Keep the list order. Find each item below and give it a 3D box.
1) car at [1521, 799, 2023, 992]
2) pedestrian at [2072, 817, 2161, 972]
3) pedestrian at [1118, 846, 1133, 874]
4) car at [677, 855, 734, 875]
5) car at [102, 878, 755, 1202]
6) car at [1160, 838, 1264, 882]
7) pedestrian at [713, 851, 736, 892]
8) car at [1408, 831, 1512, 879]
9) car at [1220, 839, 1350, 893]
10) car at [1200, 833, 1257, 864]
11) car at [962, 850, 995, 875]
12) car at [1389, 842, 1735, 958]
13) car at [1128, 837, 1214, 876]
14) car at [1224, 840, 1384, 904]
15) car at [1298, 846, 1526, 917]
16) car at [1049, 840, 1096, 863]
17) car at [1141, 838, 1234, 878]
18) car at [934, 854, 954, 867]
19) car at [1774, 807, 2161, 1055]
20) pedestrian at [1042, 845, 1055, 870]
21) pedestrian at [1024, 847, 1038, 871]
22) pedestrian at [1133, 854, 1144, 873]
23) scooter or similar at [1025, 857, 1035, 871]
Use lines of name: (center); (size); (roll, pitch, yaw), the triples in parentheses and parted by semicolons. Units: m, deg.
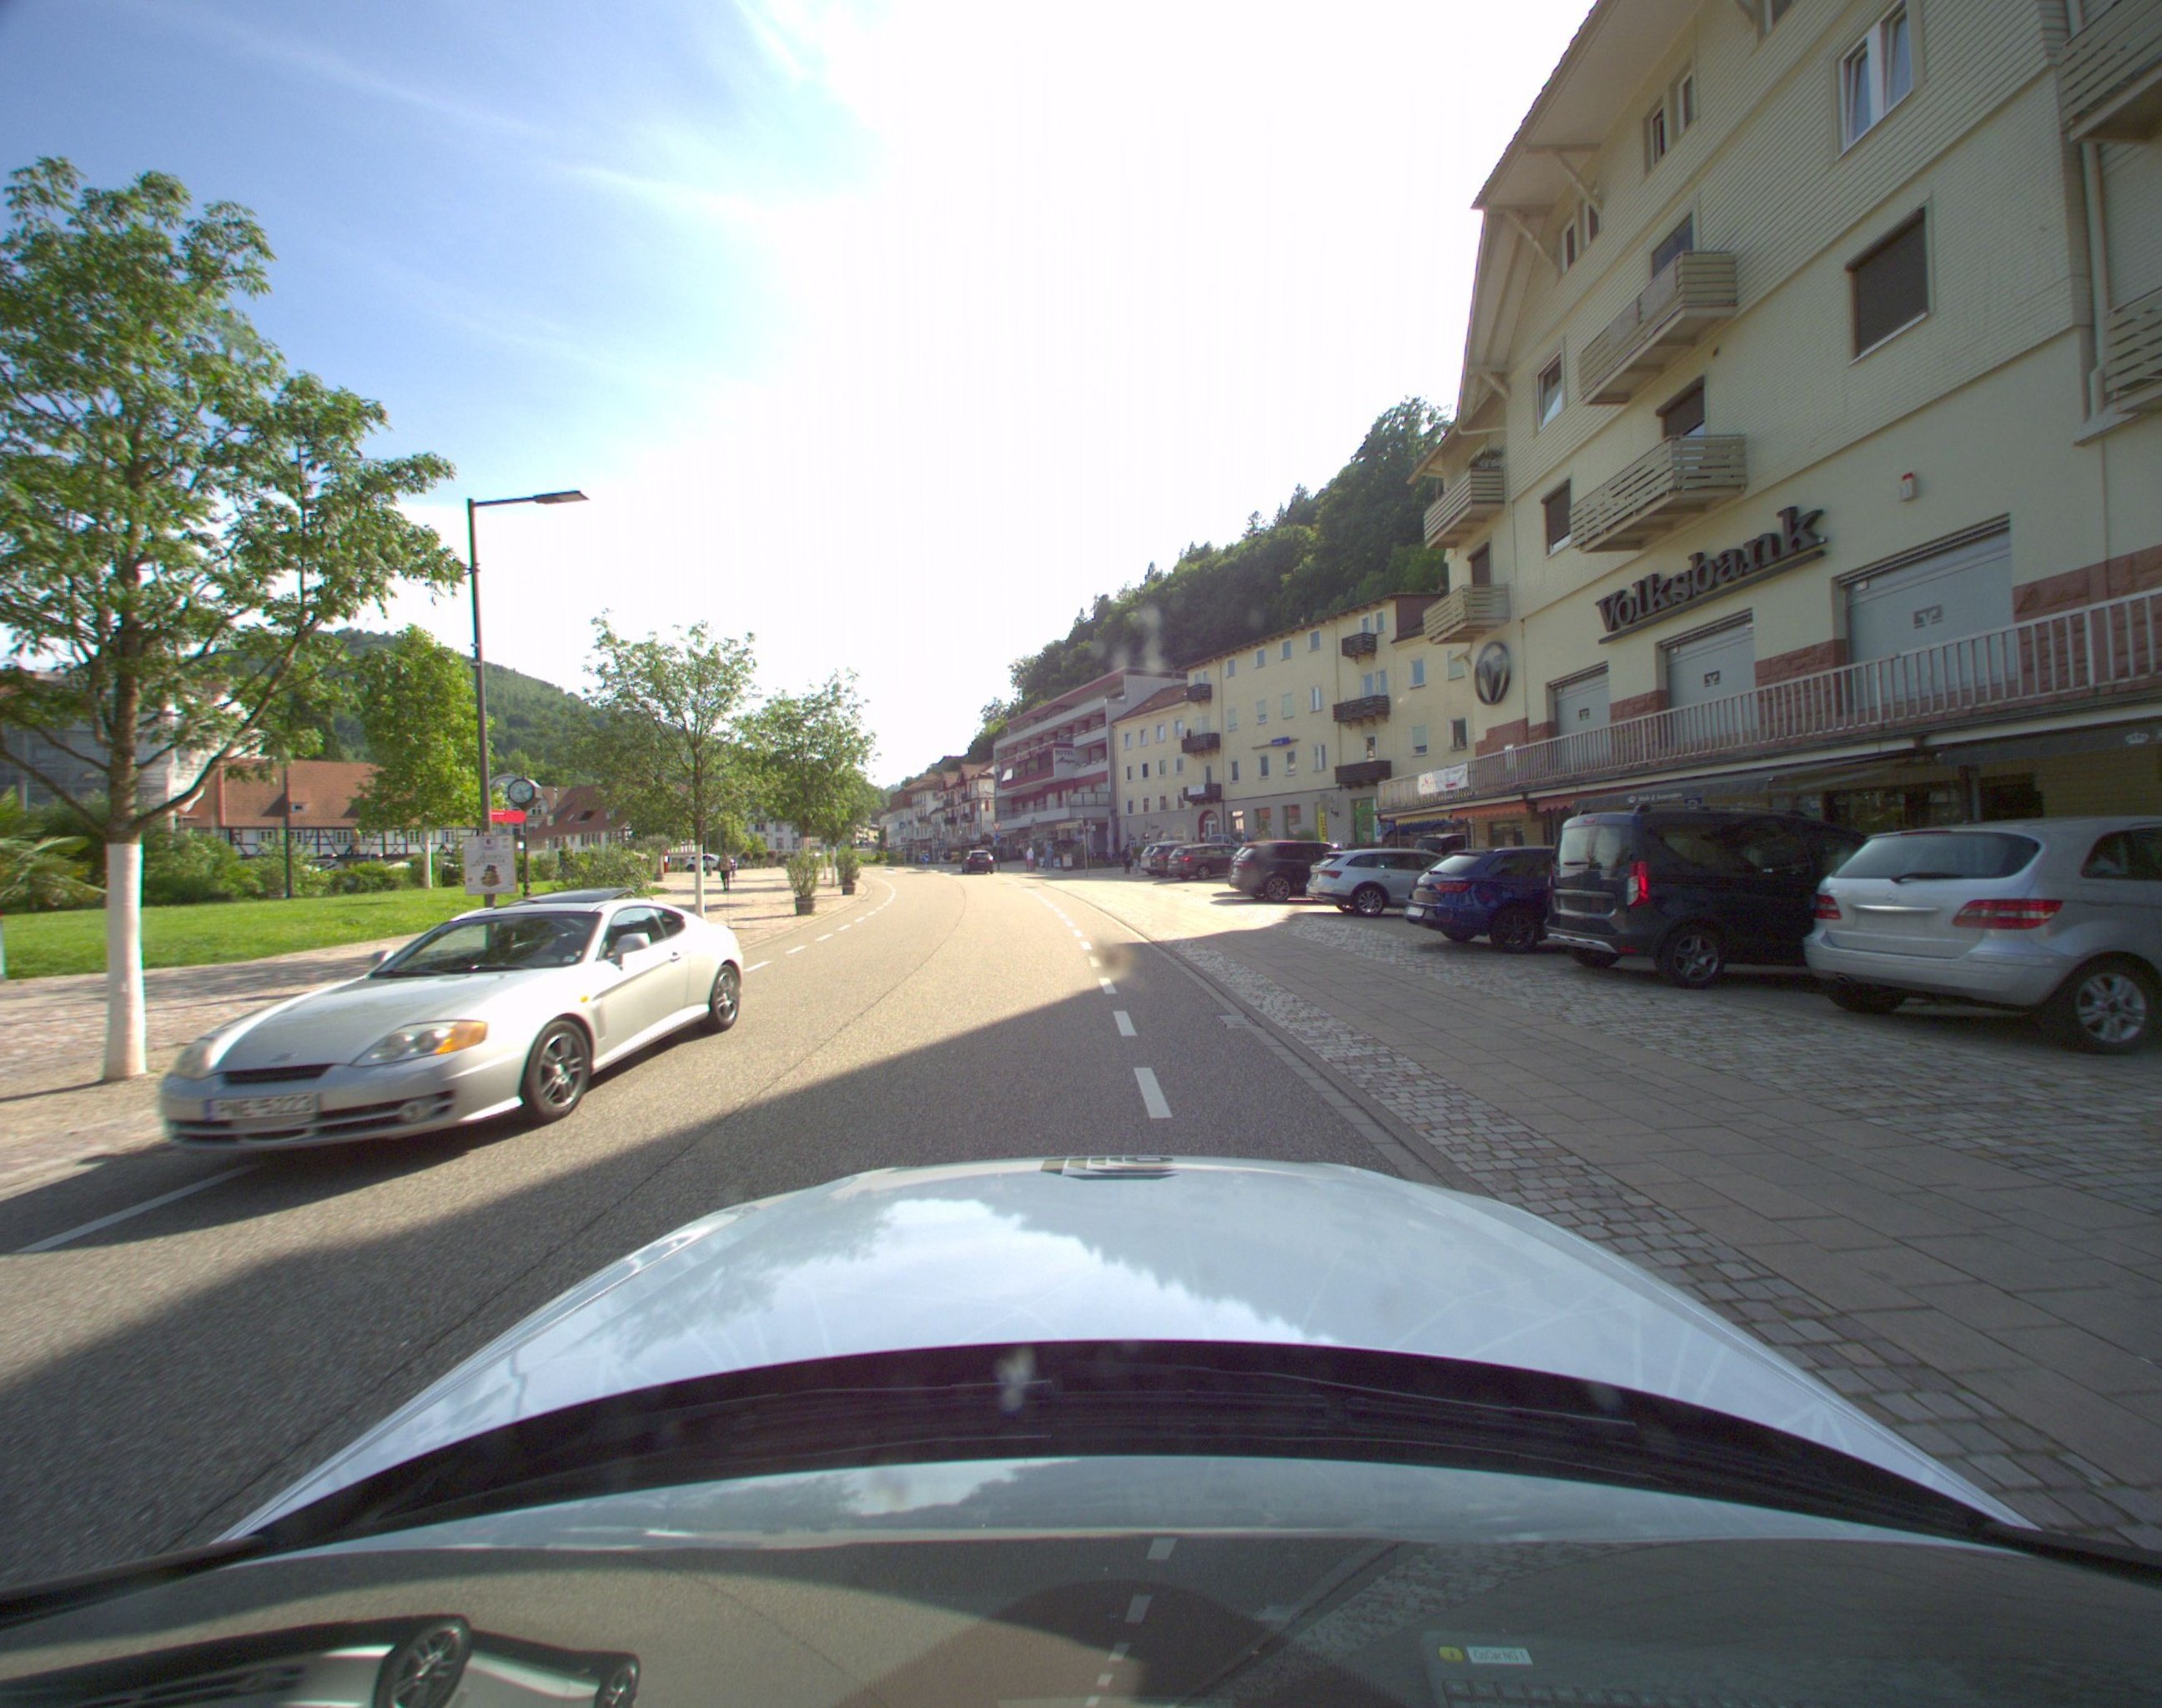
car: (7.208, 0.411, 8.837); (3.896, 1.804, 1.857); (1, -1, 0)
pedestrian: (11.568, 0.436, 9.089); (0.457, 1.658, 0.432); (-4, -1, -17)
pedestrian: (2.384, 0.328, 43.739); (0.732, 1.442, 0.633); (-4, 0, 1)
car: (-32.889, 0.953, 71.387); (4.154, 1.616, 1.691); (-1, 0, 1)
car: (-4.034, 0.972, 6.073); (1.624, 1.370, 4.059); (-4, 0, -2)
car: (5.617, 0.224, 34.950); (4.024, 1.516, 1.761); (-5, 2, -20)
pedestrian: (-15.919, 0.781, 36.422); (0.870, 1.815, 0.686); (-1, 0, -21)
car: (14.400, 0.003, 30.891); (3.937, 1.609, 1.754); (-3, 1, -33)
car: (6.743, 0.371, 27.188); (3.896, 1.700, 1.773); (1, 1, 0)
car: (9.886, -0.368, 54.819); (1.869, 2.013, 3.643); (-1, 1, -30)
car: (-6.961, 0.536, 54.892); (1.730, 1.574, 3.735); (-1, 1, -14)
car: (6.647, 0.601, 11.566); (3.896, 1.461, 1.736); (1, 0, 0)
car: (4.563, 0.116, 41.226); (3.875, 1.612, 1.761); (-5, 2, -20)
car: (6.258, 0.490, 23.133); (4.070, 1.666, 1.773); (1, 0, 0)
car: (7.204, 0.600, 18.062); (4.339, 1.461, 1.774); (-1, -2, 2)
car: (-0.654, -0.179, 61.846); (3.174, 1.663, 1.583); (-2, 0, -20)
car: (5.003, 0.178, 38.349); (3.875, 1.549, 1.761); (-5, 2, -20)
car: (-17.667, 0.787, 104.880); (1.684, 1.620, 3.968); (-1, 0, -24)
car: (7.904, 0.499, 6.126); (3.896, 1.589, 1.775); (0, 0, 0)
pedestrian: (-2.220, 0.249, 55.947); (0.671, 1.728, 0.702); (-1, 0, -22)
pedestrian: (-3.460, 0.351, 56.238); (0.760, 1.594, 0.623); (-1, 0, -22)
pedestrian: (3.076, 0.510, 43.615); (0.414, 1.002, 0.533); (-4, 0, 18)
scooter or similar: (-3.531, 0.683, 56.409); (0.598, 0.950, 0.471); (-1, 0, -22)
